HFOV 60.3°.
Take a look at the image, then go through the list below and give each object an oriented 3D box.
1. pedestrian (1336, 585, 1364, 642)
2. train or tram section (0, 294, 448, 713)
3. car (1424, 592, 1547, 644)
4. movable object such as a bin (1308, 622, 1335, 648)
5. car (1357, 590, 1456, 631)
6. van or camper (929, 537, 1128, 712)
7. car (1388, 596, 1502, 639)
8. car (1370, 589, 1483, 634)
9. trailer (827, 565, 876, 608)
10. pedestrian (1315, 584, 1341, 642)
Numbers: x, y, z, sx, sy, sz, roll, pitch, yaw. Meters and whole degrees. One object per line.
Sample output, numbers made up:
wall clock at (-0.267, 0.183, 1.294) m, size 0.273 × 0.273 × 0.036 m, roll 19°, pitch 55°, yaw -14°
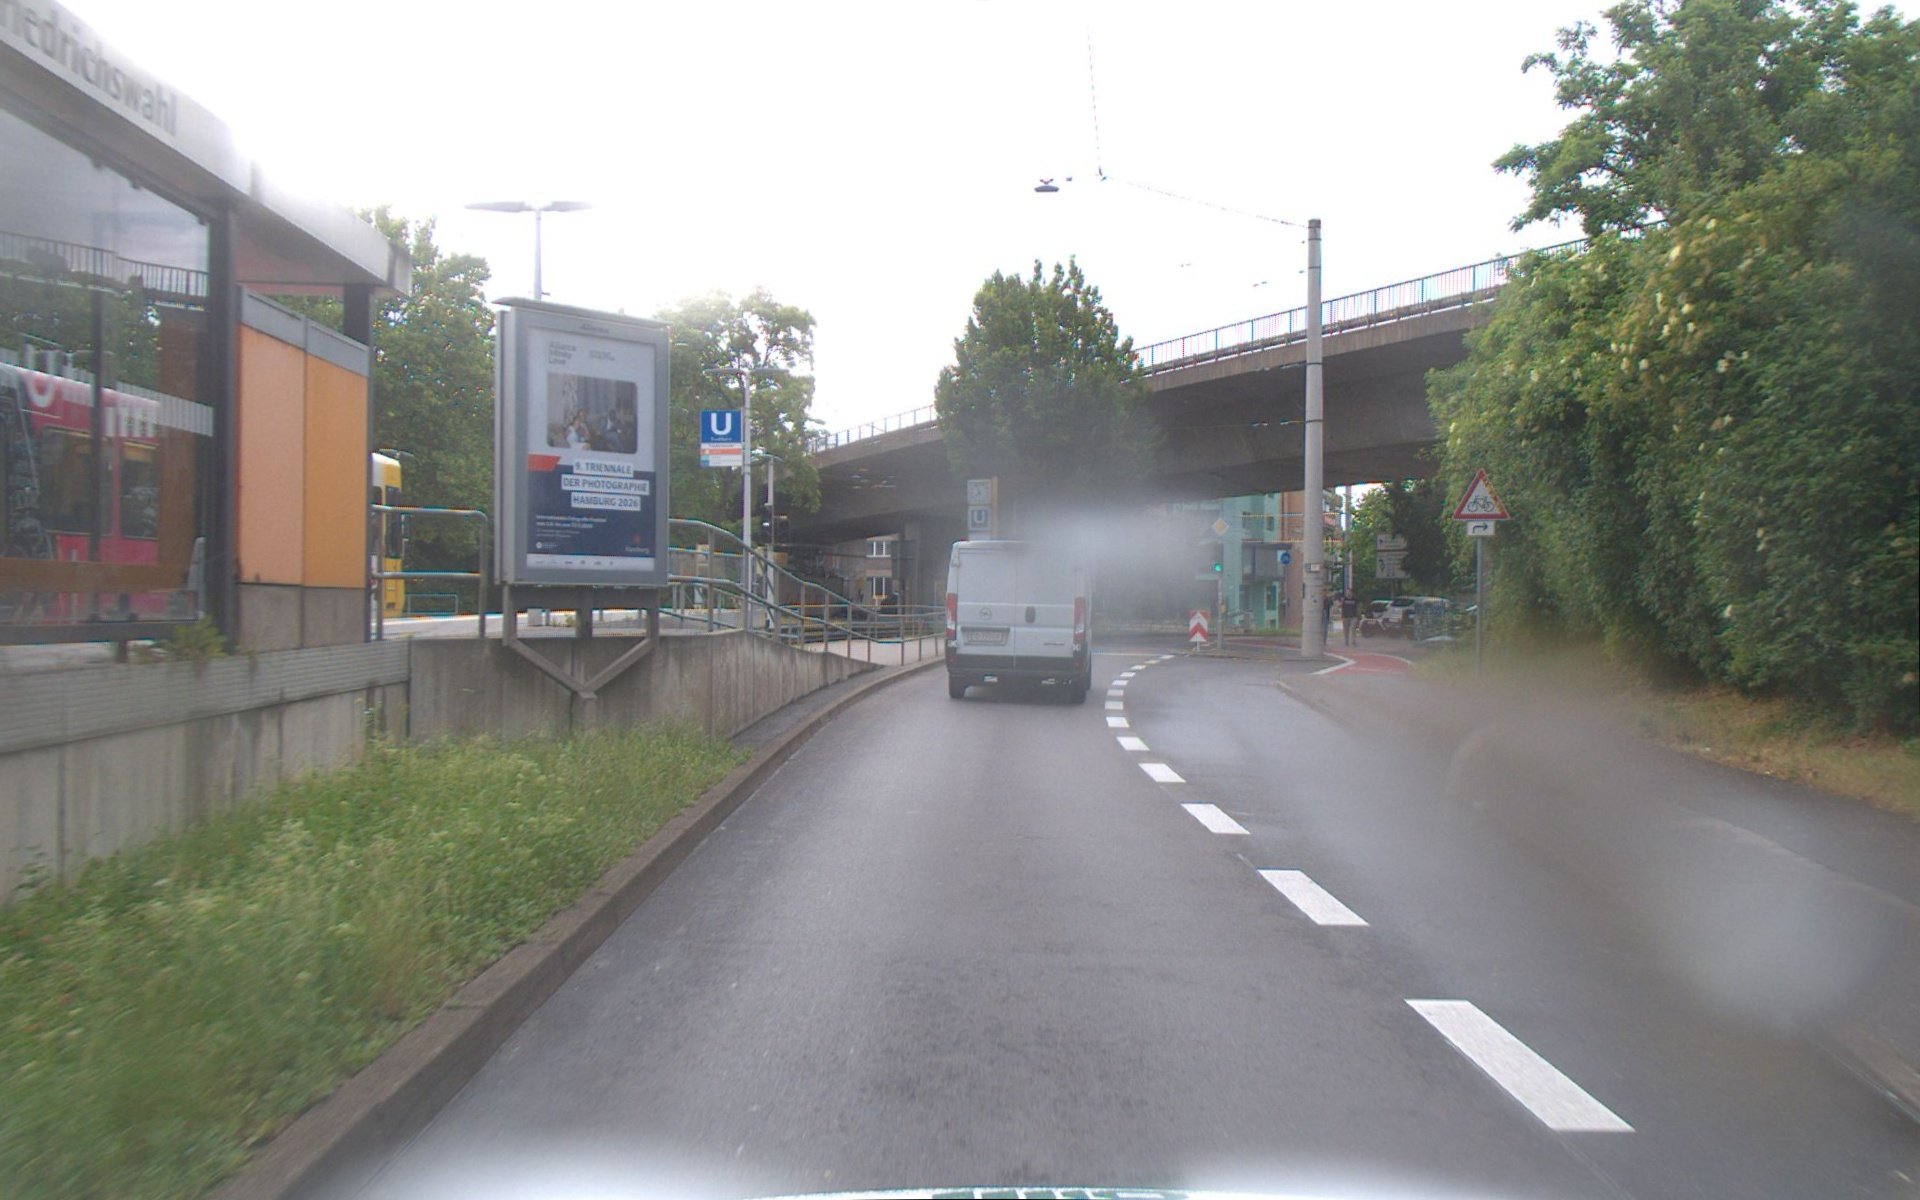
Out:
pedestrian at (12.775, 0.442, 54.151) m, size 0.585 × 1.854 × 0.909 m, roll 3°, pitch -1°, yaw -3°
train or tram section at (-10.679, -0.945, 19.969) m, size 2.809 × 4.030 × 19.328 m, roll 3°, pitch -1°, yaw 0°
car at (18.555, 0.635, 58.379) m, size 3.939 × 1.599 × 1.889 m, roll 3°, pitch -1°, yaw -27°
movable object such as a bin at (33.036, 3.185, 151.121) m, size 2.091 × 2.194 × 1.801 m, roll 3°, pitch 1°, yaw 23°
car at (17.897, 0.411, 66.302) m, size 3.684 × 1.548 × 1.785 m, roll 2°, pitch 0°, yaw -30°
van or camper at (1.158, 0.371, 24.995) m, size 2.152 × 2.292 × 4.687 m, roll 3°, pitch -1°, yaw 12°
car at (17.841, 0.630, 60.798) m, size 3.993 × 1.464 × 1.769 m, roll 2°, pitch 0°, yaw -30°
car at (17.982, 0.446, 63.738) m, size 3.967 × 1.659 × 1.948 m, roll 2°, pitch 0°, yaw -30°
trailer at (-7.366, -0.904, 112.056) m, size 1.968 × 2.773 × 4.091 m, roll 2°, pitch -1°, yaw -25°
pedestrian at (12.052, 0.428, 54.153) m, size 0.612 × 1.840 × 0.836 m, roll 3°, pitch -1°, yaw 3°
